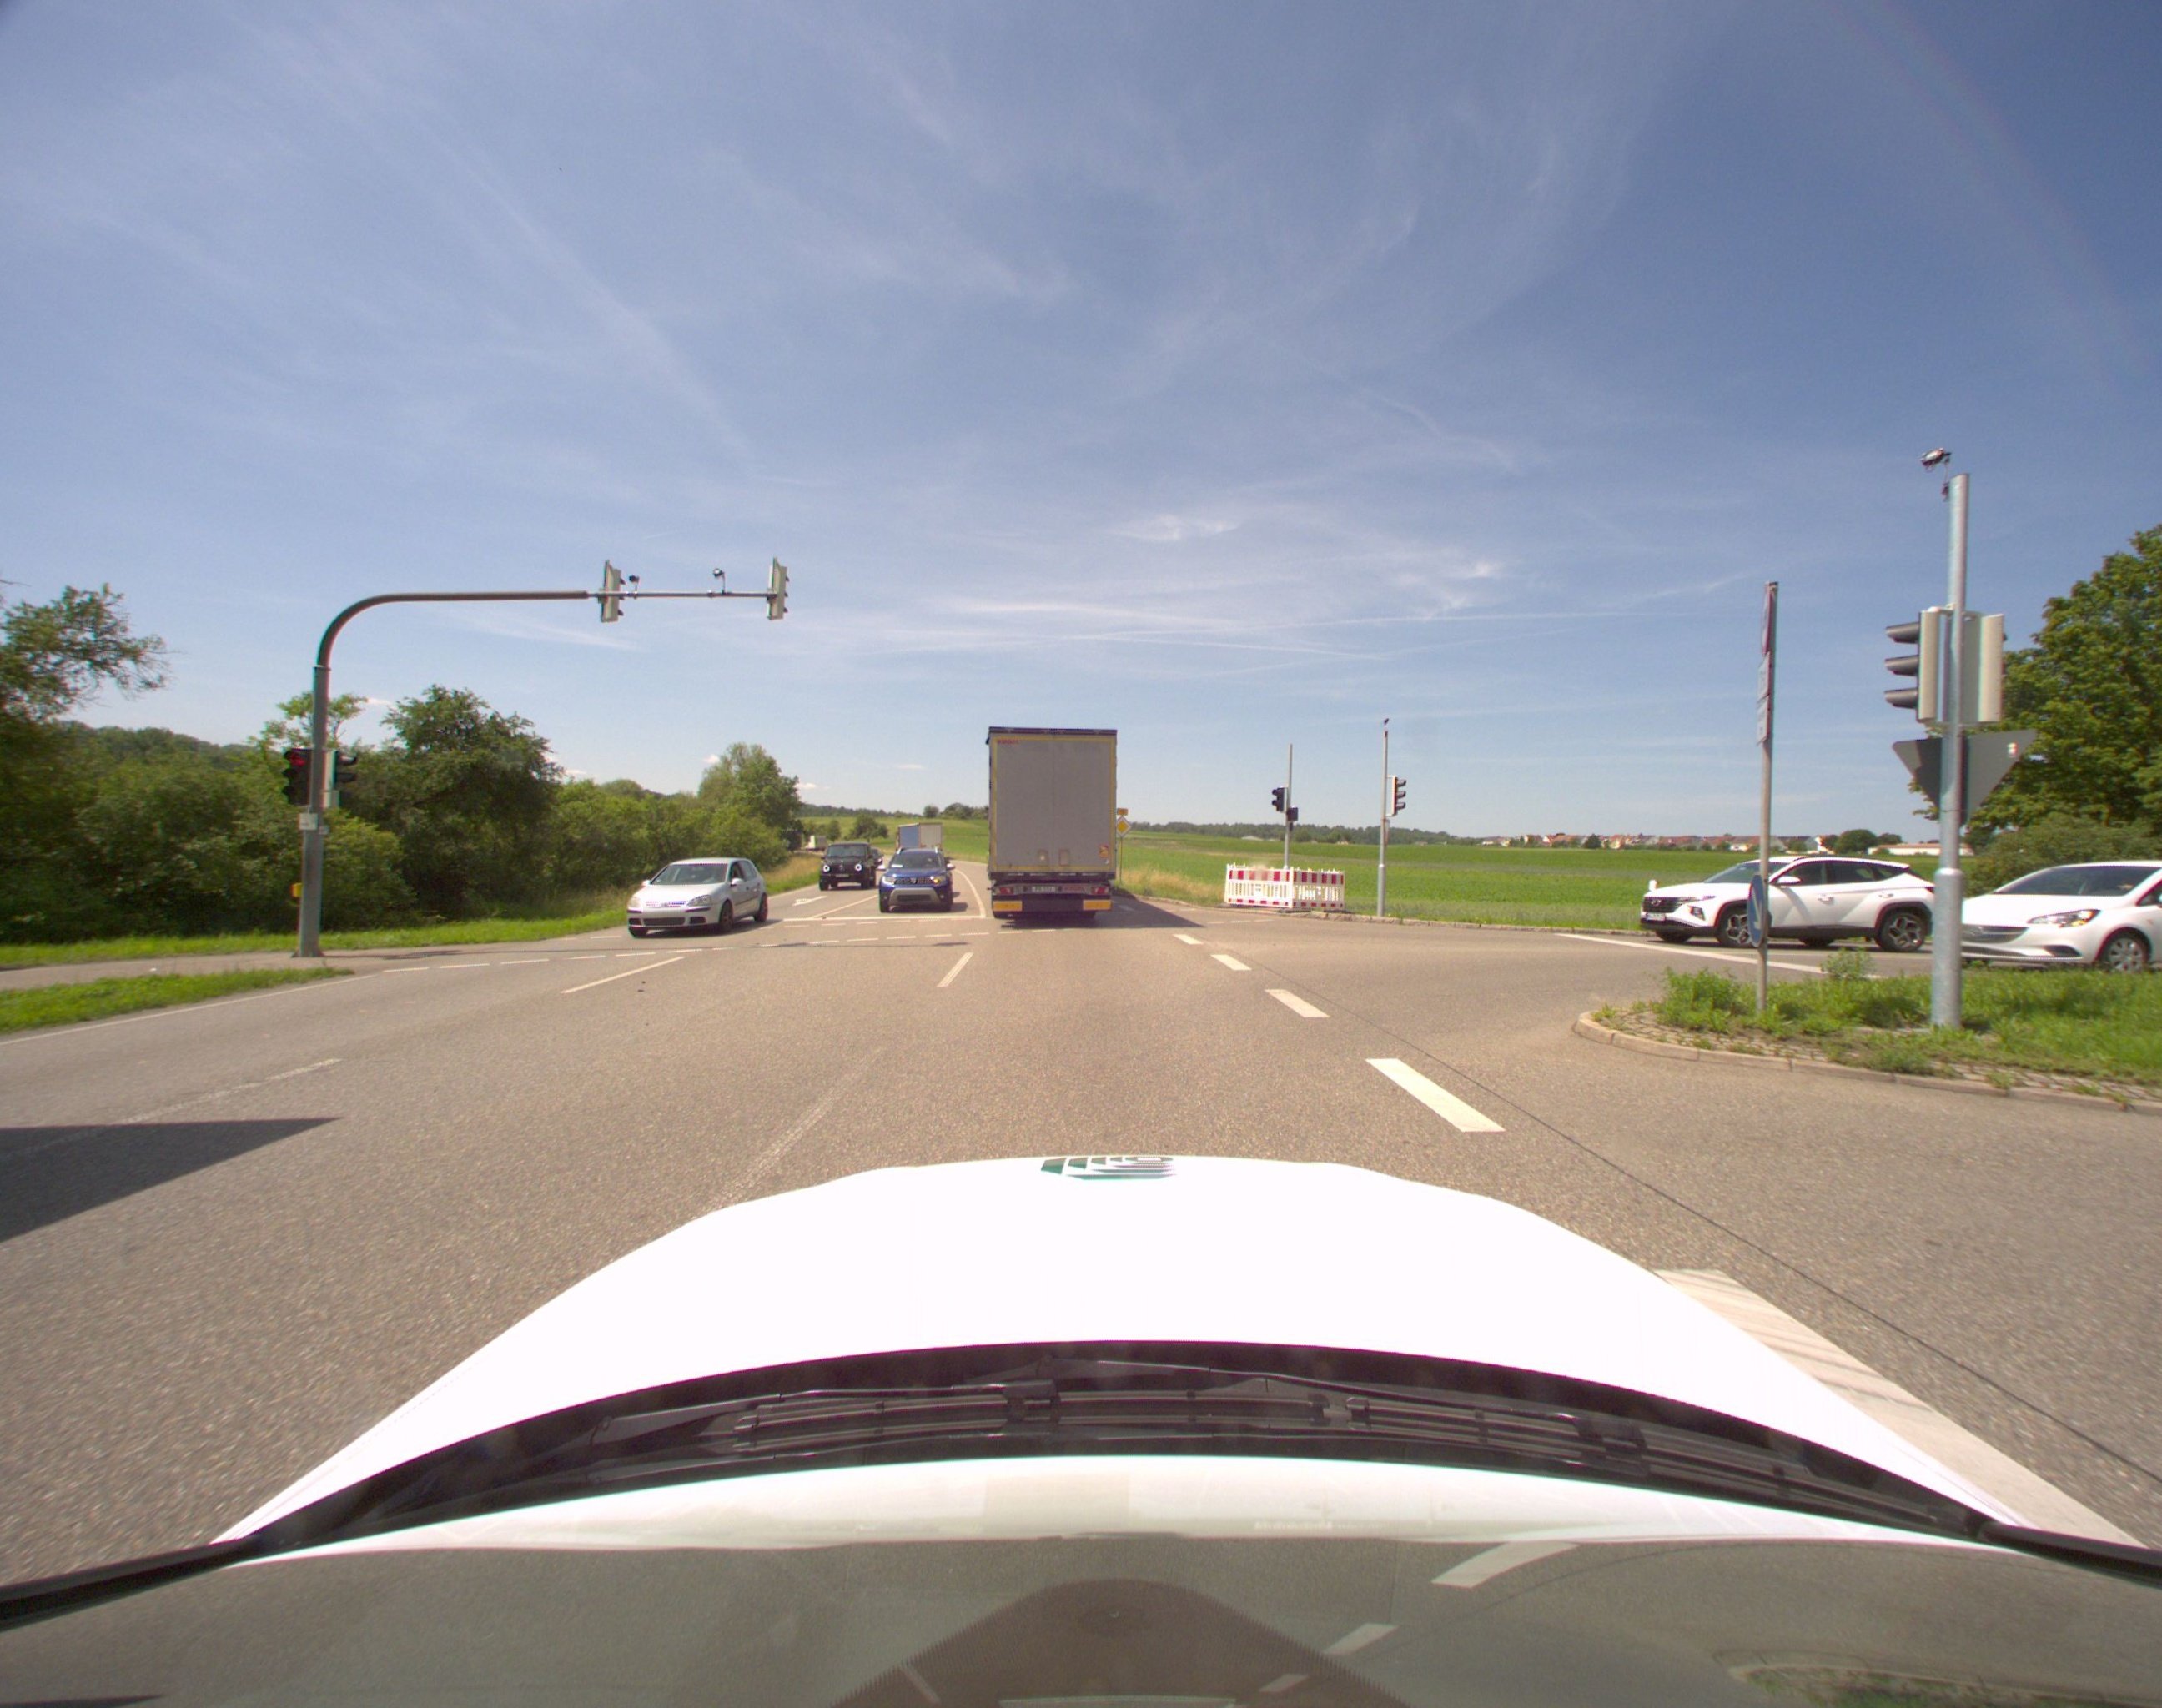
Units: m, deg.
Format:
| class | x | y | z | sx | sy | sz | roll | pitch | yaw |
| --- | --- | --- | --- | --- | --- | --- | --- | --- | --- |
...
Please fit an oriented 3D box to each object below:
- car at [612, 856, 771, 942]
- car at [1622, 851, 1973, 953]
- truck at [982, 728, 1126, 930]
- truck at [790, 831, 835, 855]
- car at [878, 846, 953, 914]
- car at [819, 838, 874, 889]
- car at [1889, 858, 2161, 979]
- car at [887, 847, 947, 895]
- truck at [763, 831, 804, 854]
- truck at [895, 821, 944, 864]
| class | x | y | z | sx | sy | sz | roll | pitch | yaw |
| --- | --- | --- | --- | --- | --- | --- | --- | --- | --- |
| car | -7.818 | 0.817 | 16.768 | 1.770 | 1.495 | 3.989 | -1 | 0 | -8 |
| car | 12.762 | 0.833 | 14.764 | 4.609 | 1.607 | 1.999 | 1 | -1 | 1 |
| truck | -0.914 | -0.496 | 20.806 | 2.803 | 3.946 | 9.574 | 0 | 0 | -5 |
| truck | -49.623 | -1.955 | 150.135 | 3.666 | 4.129 | 12.947 | 2 | -2 | -38 |
| car | -4.367 | 0.645 | 22.000 | 1.770 | 1.658 | 3.988 | -1 | 0 | -9 |
| car | -9.947 | 0.366 | 34.836 | 1.997 | 2.006 | 5.140 | 0 | 0 | -13 |
| car | 13.339 | 0.807 | 10.656 | 3.953 | 1.419 | 1.825 | 1 | -1 | -5 |
| car | -6.055 | 0.587 | 30.477 | 1.768 | 1.658 | 3.992 | -1 | 0 | -5 |
| truck | -59.624 | -2.167 | 162.873 | 3.558 | 4.241 | 13.250 | 2 | -2 | -39 |
| truck | -19.139 | -1.199 | 95.335 | 2.972 | 4.584 | 16.201 | 0 | 0 | -21 |
